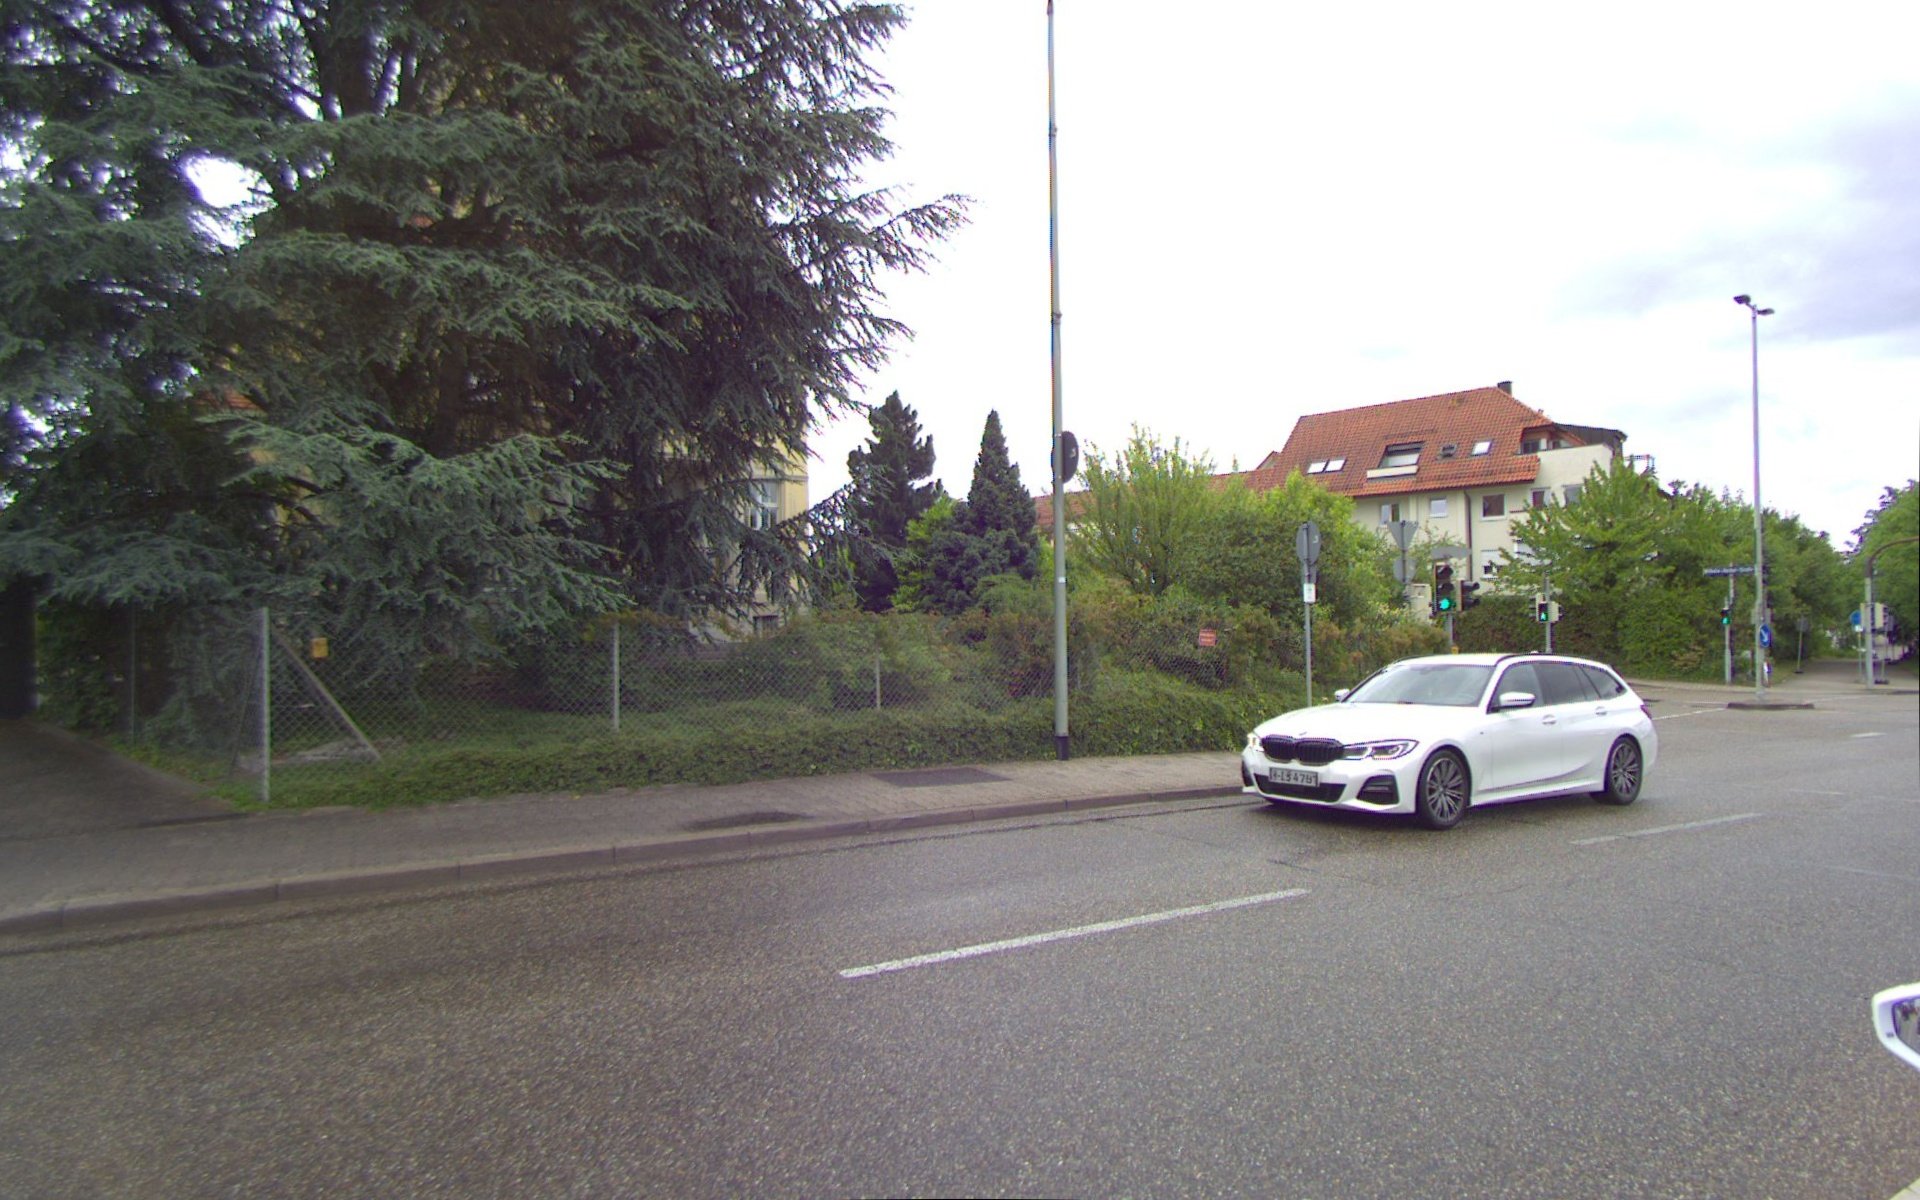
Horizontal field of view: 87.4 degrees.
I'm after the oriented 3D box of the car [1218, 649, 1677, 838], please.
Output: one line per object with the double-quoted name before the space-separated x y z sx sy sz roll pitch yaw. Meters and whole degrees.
"car" 4.732 1.182 9.578 4.497 1.403 1.766 1 -2 -31
